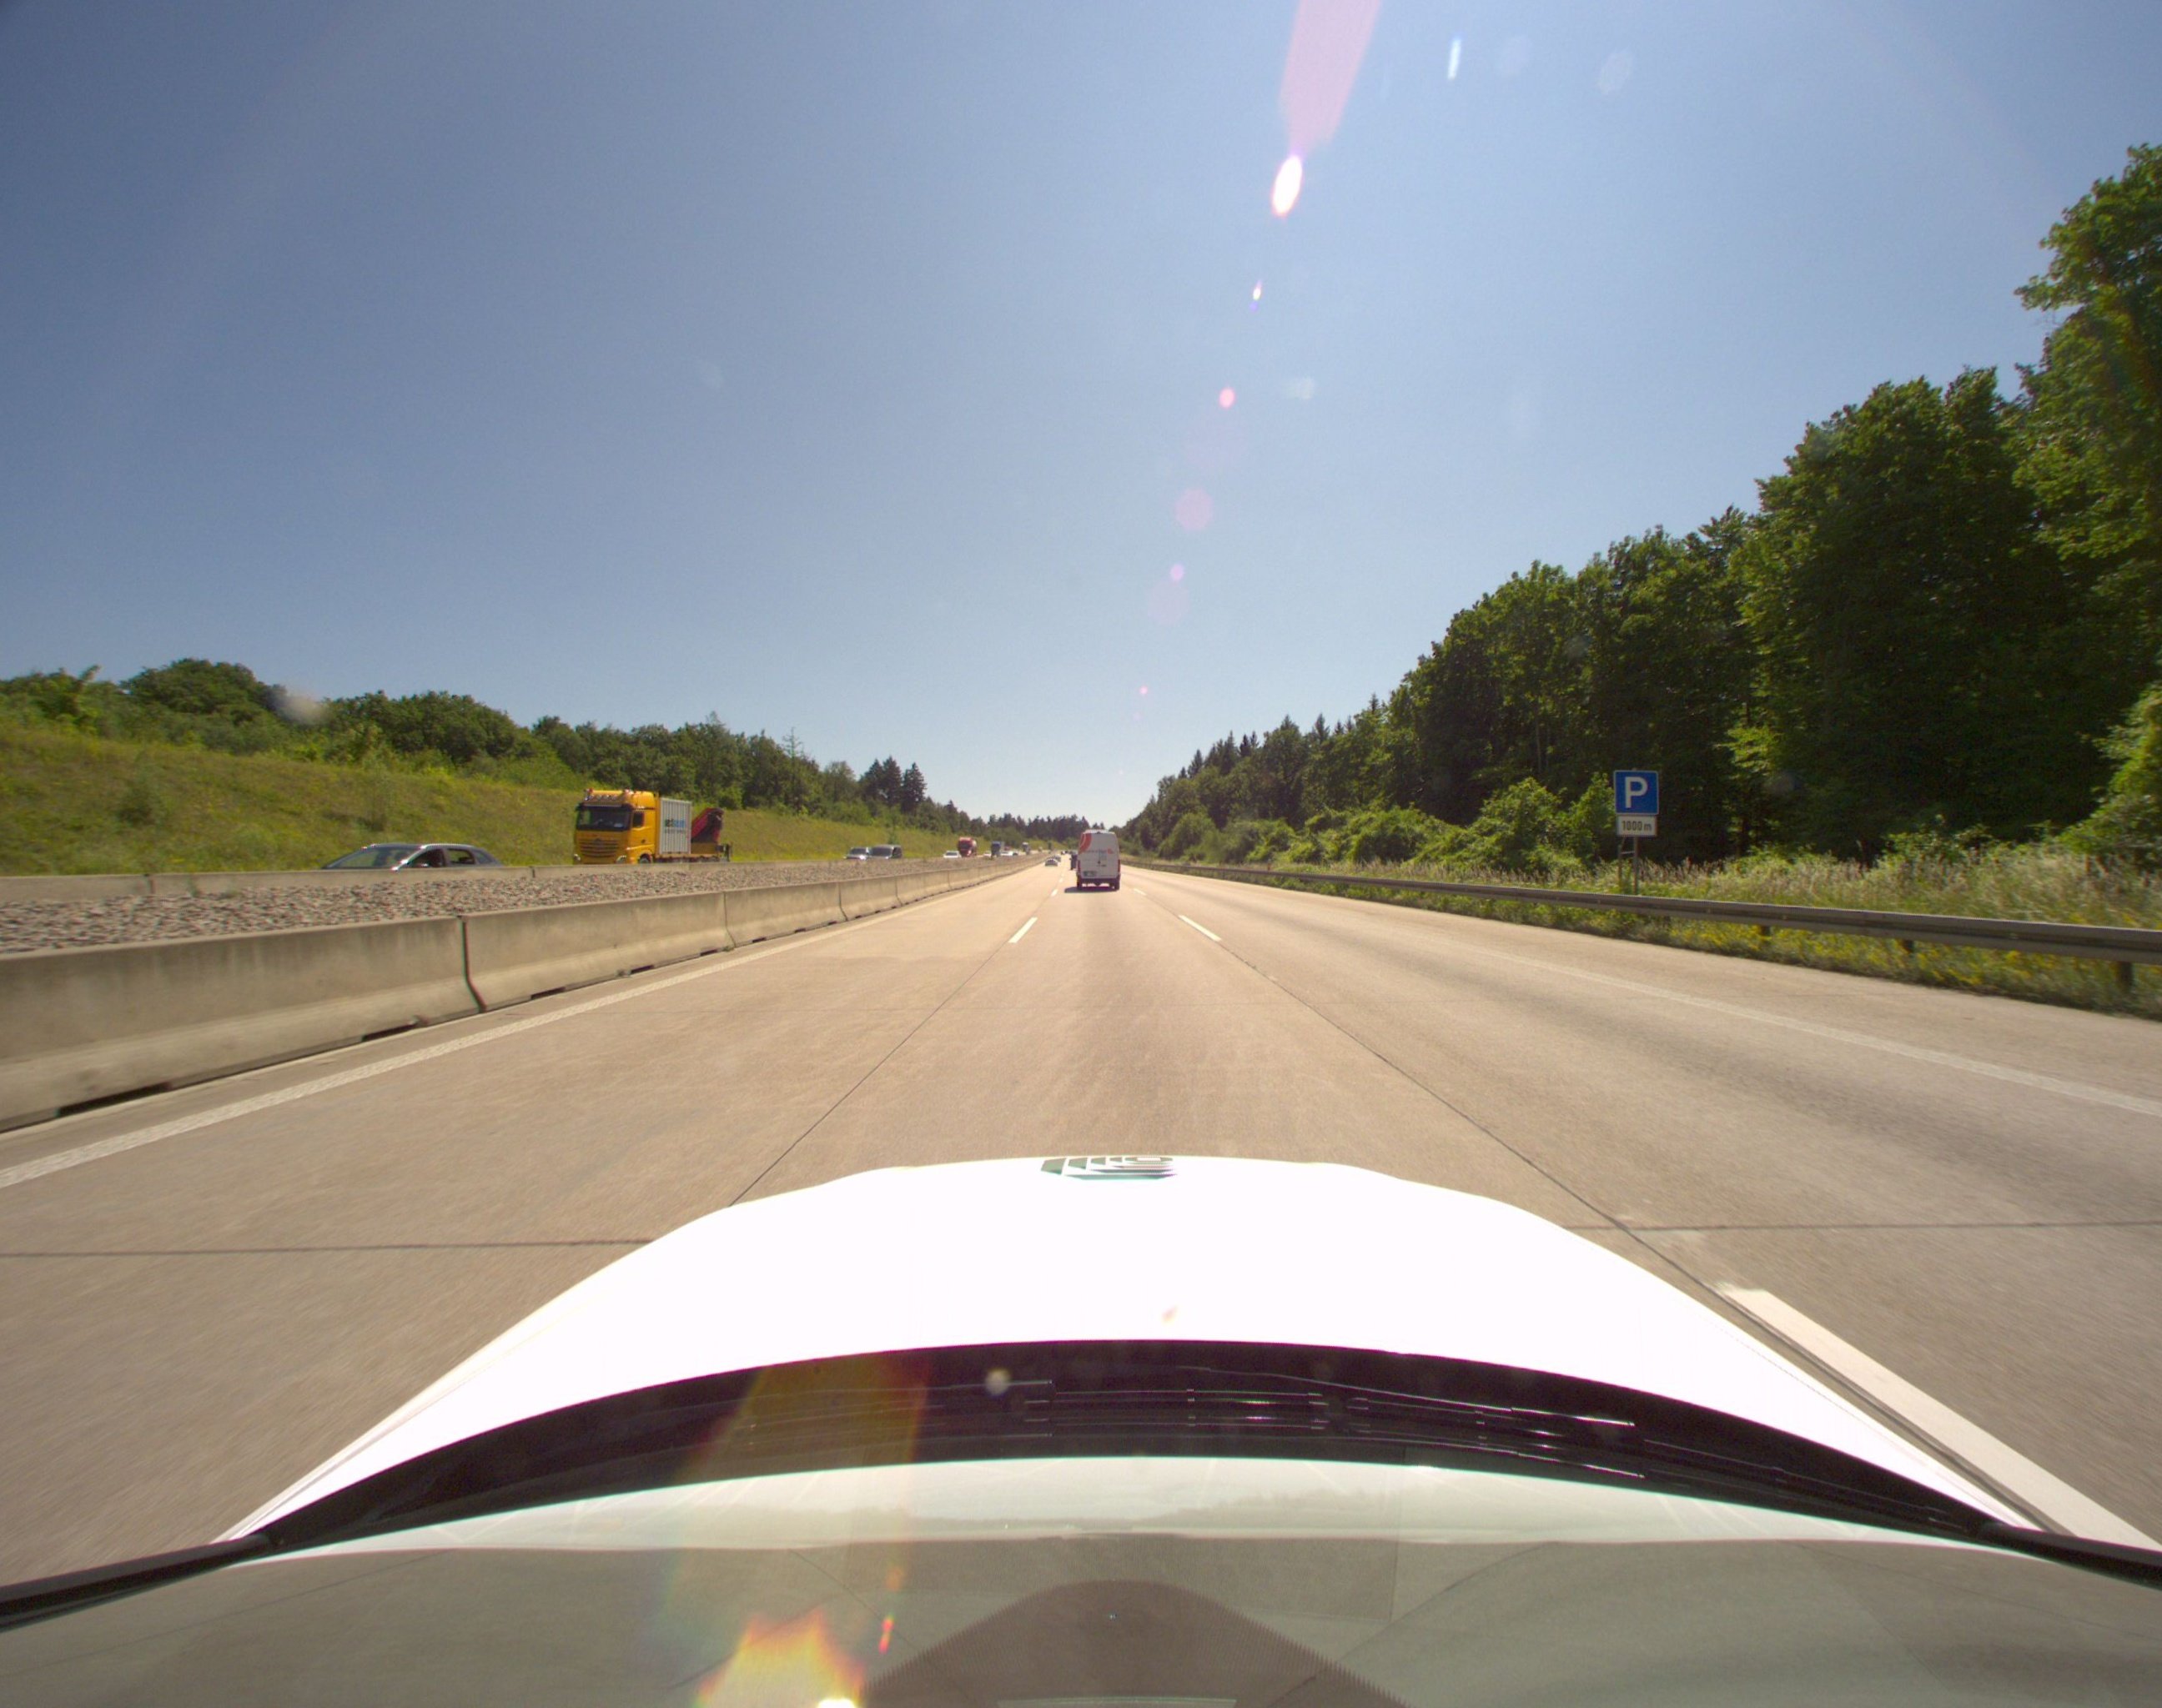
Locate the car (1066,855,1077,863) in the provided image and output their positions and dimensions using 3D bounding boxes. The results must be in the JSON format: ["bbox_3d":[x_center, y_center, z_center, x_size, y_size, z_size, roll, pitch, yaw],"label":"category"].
[{"bbox_3d":[-1.942,1.070,168.139,1.985,1.684,4.003,1,0,3],"label":"car"}]

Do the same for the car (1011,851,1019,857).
[{"bbox_3d":[-20.062,-0.041,247.577,1.987,1.583,5.517,1,0,-1],"label":"car"}]

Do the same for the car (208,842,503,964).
[{"bbox_3d":[-13.619,0.827,15.682,1.986,2.013,4.002,-1,0,2],"label":"car"}]

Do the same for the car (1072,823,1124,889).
[{"bbox_3d":[0.726,0.057,38.636,2.220,2.844,5.451,-1,0,-1],"label":"car"}]

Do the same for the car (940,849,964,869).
[{"bbox_3d":[-13.942,0.539,88.366,1.988,2.013,4.457,-1,0,-2],"label":"car"}]

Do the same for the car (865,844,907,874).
[{"bbox_3d":[-13.823,0.350,57.894,1.988,2.013,4.457,-1,0,-2],"label":"car"}]

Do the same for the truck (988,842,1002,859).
[{"bbox_3d":[-23.904,-1.006,227.129,3.248,4.504,6.570,1,0,-2],"label":"truck"}]

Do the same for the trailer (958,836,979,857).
[{"bbox_3d":[-22.676,-1.484,164.189,2.924,4.169,9.331,1,0,-1],"label":"trailer"}]

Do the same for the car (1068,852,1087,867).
[{"bbox_3d":[-0.396,0.646,94.061,1.985,1.684,4.003,1,0,3],"label":"car"}]

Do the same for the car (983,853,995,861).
[{"bbox_3d":[-18.306,0.665,162.127,1.987,1.583,4.178,1,0,-1],"label":"car"}]

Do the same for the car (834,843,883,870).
[{"bbox_3d":[-17.331,0.176,63.667,2.275,2.013,4.805,-1,0,2],"label":"car"}]

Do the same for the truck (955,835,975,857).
[{"bbox_3d":[-22.626,-1.505,158.771,2.925,4.169,5.980,1,0,-1],"label":"truck"}]

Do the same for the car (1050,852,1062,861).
[{"bbox_3d":[-5.063,0.537,163.957,1.985,1.684,4.003,1,0,3],"label":"car"}]

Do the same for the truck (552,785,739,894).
[{"bbox_3d":[-20.507,-0.610,39.538,2.904,4.513,11.257,-1,0,0],"label":"truck"}]

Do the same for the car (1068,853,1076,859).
[{"bbox_3d":[-2.800,0.656,246.489,1.985,1.684,4.003,1,0,3],"label":"car"}]

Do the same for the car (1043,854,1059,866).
[{"bbox_3d":[-4.462,0.948,122.243,1.985,1.684,4.003,1,0,3],"label":"car"}]

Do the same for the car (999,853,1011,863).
[{"bbox_3d":[-15.189,0.761,162.710,1.987,1.873,4.966,1,0,-1],"label":"car"}]
